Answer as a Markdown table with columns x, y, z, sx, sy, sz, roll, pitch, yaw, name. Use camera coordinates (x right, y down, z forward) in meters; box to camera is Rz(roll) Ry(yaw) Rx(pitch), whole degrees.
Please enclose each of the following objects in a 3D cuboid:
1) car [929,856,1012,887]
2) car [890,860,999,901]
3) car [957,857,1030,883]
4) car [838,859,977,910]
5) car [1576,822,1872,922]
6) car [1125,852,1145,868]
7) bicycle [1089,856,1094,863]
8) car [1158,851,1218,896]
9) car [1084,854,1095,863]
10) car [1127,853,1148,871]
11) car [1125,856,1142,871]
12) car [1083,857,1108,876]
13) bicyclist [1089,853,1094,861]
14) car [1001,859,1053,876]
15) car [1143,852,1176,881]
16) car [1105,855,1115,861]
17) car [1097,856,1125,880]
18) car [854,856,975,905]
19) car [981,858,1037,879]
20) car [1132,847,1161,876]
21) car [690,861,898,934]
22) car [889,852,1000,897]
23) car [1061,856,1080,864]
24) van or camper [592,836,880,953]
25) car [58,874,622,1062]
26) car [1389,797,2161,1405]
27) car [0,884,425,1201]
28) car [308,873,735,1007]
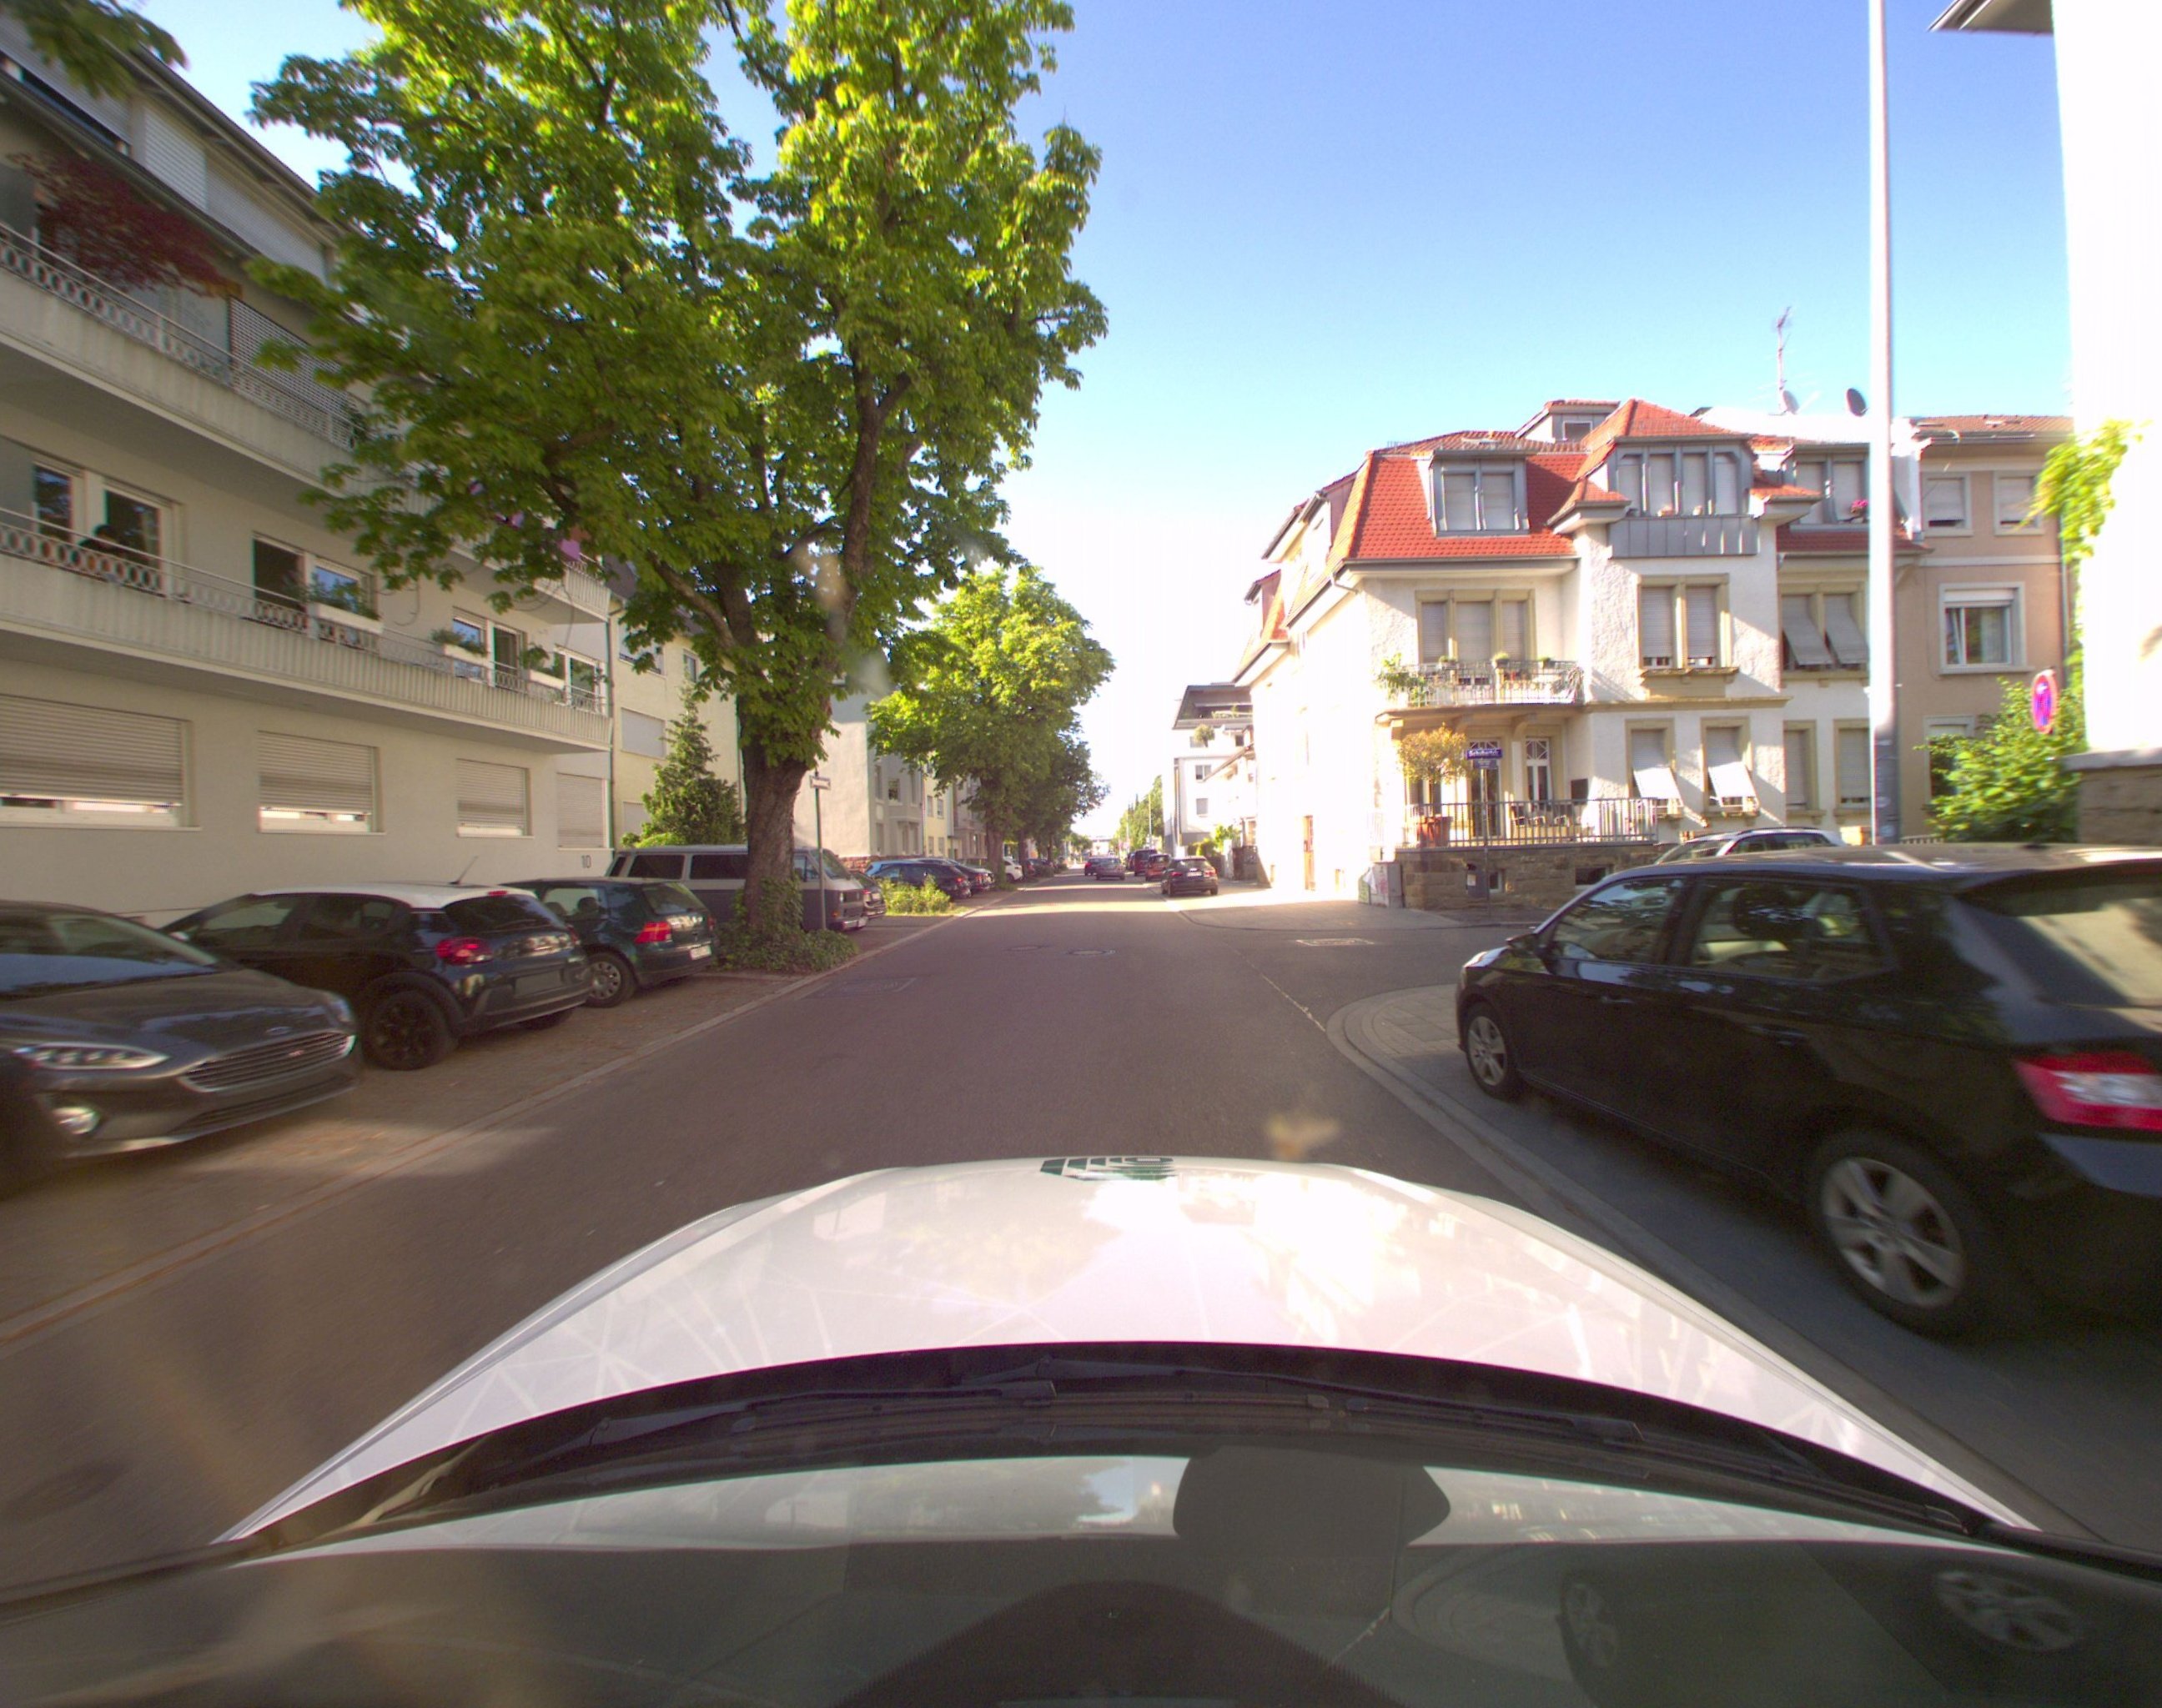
| x | y | z | sx | sy | sz | roll | pitch | yaw | name |
| --- | --- | --- | --- | --- | --- | --- | --- | --- | --- |
| -5.703 | 0.879 | 42.371 | 3.969 | 1.575 | 1.983 | 0 | 0 | 4 | car |
| -5.377 | 1.034 | 32.429 | 3.973 | 1.468 | 1.697 | -2 | 0 | 0 | car |
| -5.039 | 0.913 | 47.465 | 4.009 | 1.485 | 1.807 | 0 | 0 | 0 | car |
| -5.717 | 0.989 | 27.174 | 4.173 | 1.499 | 1.861 | -2 | 0 | 0 | car |
| 11.558 | 0.338 | 14.832 | 3.976 | 1.591 | 1.790 | -2 | -2 | -2 | car |
| 5.399 | 0.636 | 81.644 | 1.676 | 1.435 | 4.267 | -6 | -2 | 2 | car |
| 1.841 | 0.981 | 143.778 | 0.716 | 1.079 | 1.891 | -2 | 0 | 2 | bicycle |
| 3.884 | 0.666 | 30.129 | 1.614 | 1.440 | 3.934 | -4 | 0 | 0 | car |
| 1.723 | 0.971 | 168.588 | 1.868 | 1.728 | 3.996 | -2 | 0 | -3 | car |
| 5.226 | 0.744 | 75.793 | 1.730 | 1.531 | 4.180 | -2 | 0 | 2 | car |
| 5.517 | 0.991 | 86.079 | 1.558 | 1.410 | 3.732 | -6 | -2 | 3 | car |
| 1.173 | 1.020 | 63.892 | 1.699 | 1.448 | 4.207 | 0 | -1 | 4 | car |
| 1.825 | 0.524 | 143.766 | 0.718 | 1.537 | 1.137 | -2 | 0 | 2 | bicyclist |
| -4.808 | 1.198 | 72.508 | 4.460 | 1.479 | 1.868 | -1 | -1 | -1 | car |
| 4.462 | 0.703 | 46.531 | 1.586 | 1.480 | 3.248 | -4 | 0 | 1 | car |
| 5.978 | 0.824 | 170.926 | 1.718 | 1.330 | 3.996 | -2 | 0 | -3 | car |
| 1.887 | 0.877 | 50.828 | 1.720 | 1.420 | 3.962 | 0 | -1 | 3 | car |
| -6.026 | 0.950 | 29.856 | 3.975 | 1.592 | 1.878 | -2 | 0 | -1 | car |
| -5.259 | 1.054 | 59.833 | 3.973 | 1.421 | 1.771 | 0 | 1 | 0 | car |
| 4.749 | 0.574 | 59.296 | 1.864 | 1.905 | 5.200 | -3 | -1 | 3 | car |
| -6.211 | 0.920 | 17.878 | 3.928 | 1.498 | 1.664 | 0 | 1 | 3 | car |
| -5.848 | 0.848 | 35.340 | 4.369 | 1.652 | 1.824 | -3 | 1 | 2 | car |
| -2.114 | 1.129 | 163.181 | 3.488 | 1.533 | 1.642 | -2 | 0 | -6 | car |
| -6.276 | 0.714 | 15.223 | 4.481 | 1.915 | 1.964 | -2 | -1 | 1 | van or camper |
| -6.416 | 0.924 | 7.373 | 3.464 | 1.458 | 1.798 | 0 | -1 | 2 | car |
| 3.217 | 0.635 | 4.108 | 1.658 | 1.520 | 3.998 | -3 | -1 | -2 | car |
| -6.377 | 0.931 | 4.818 | 3.628 | 1.463 | 1.712 | 0 | -1 | 3 | car |
| -6.496 | 0.960 | 9.798 | 3.910 | 1.415 | 1.715 | 0 | 0 | -1 | car |
